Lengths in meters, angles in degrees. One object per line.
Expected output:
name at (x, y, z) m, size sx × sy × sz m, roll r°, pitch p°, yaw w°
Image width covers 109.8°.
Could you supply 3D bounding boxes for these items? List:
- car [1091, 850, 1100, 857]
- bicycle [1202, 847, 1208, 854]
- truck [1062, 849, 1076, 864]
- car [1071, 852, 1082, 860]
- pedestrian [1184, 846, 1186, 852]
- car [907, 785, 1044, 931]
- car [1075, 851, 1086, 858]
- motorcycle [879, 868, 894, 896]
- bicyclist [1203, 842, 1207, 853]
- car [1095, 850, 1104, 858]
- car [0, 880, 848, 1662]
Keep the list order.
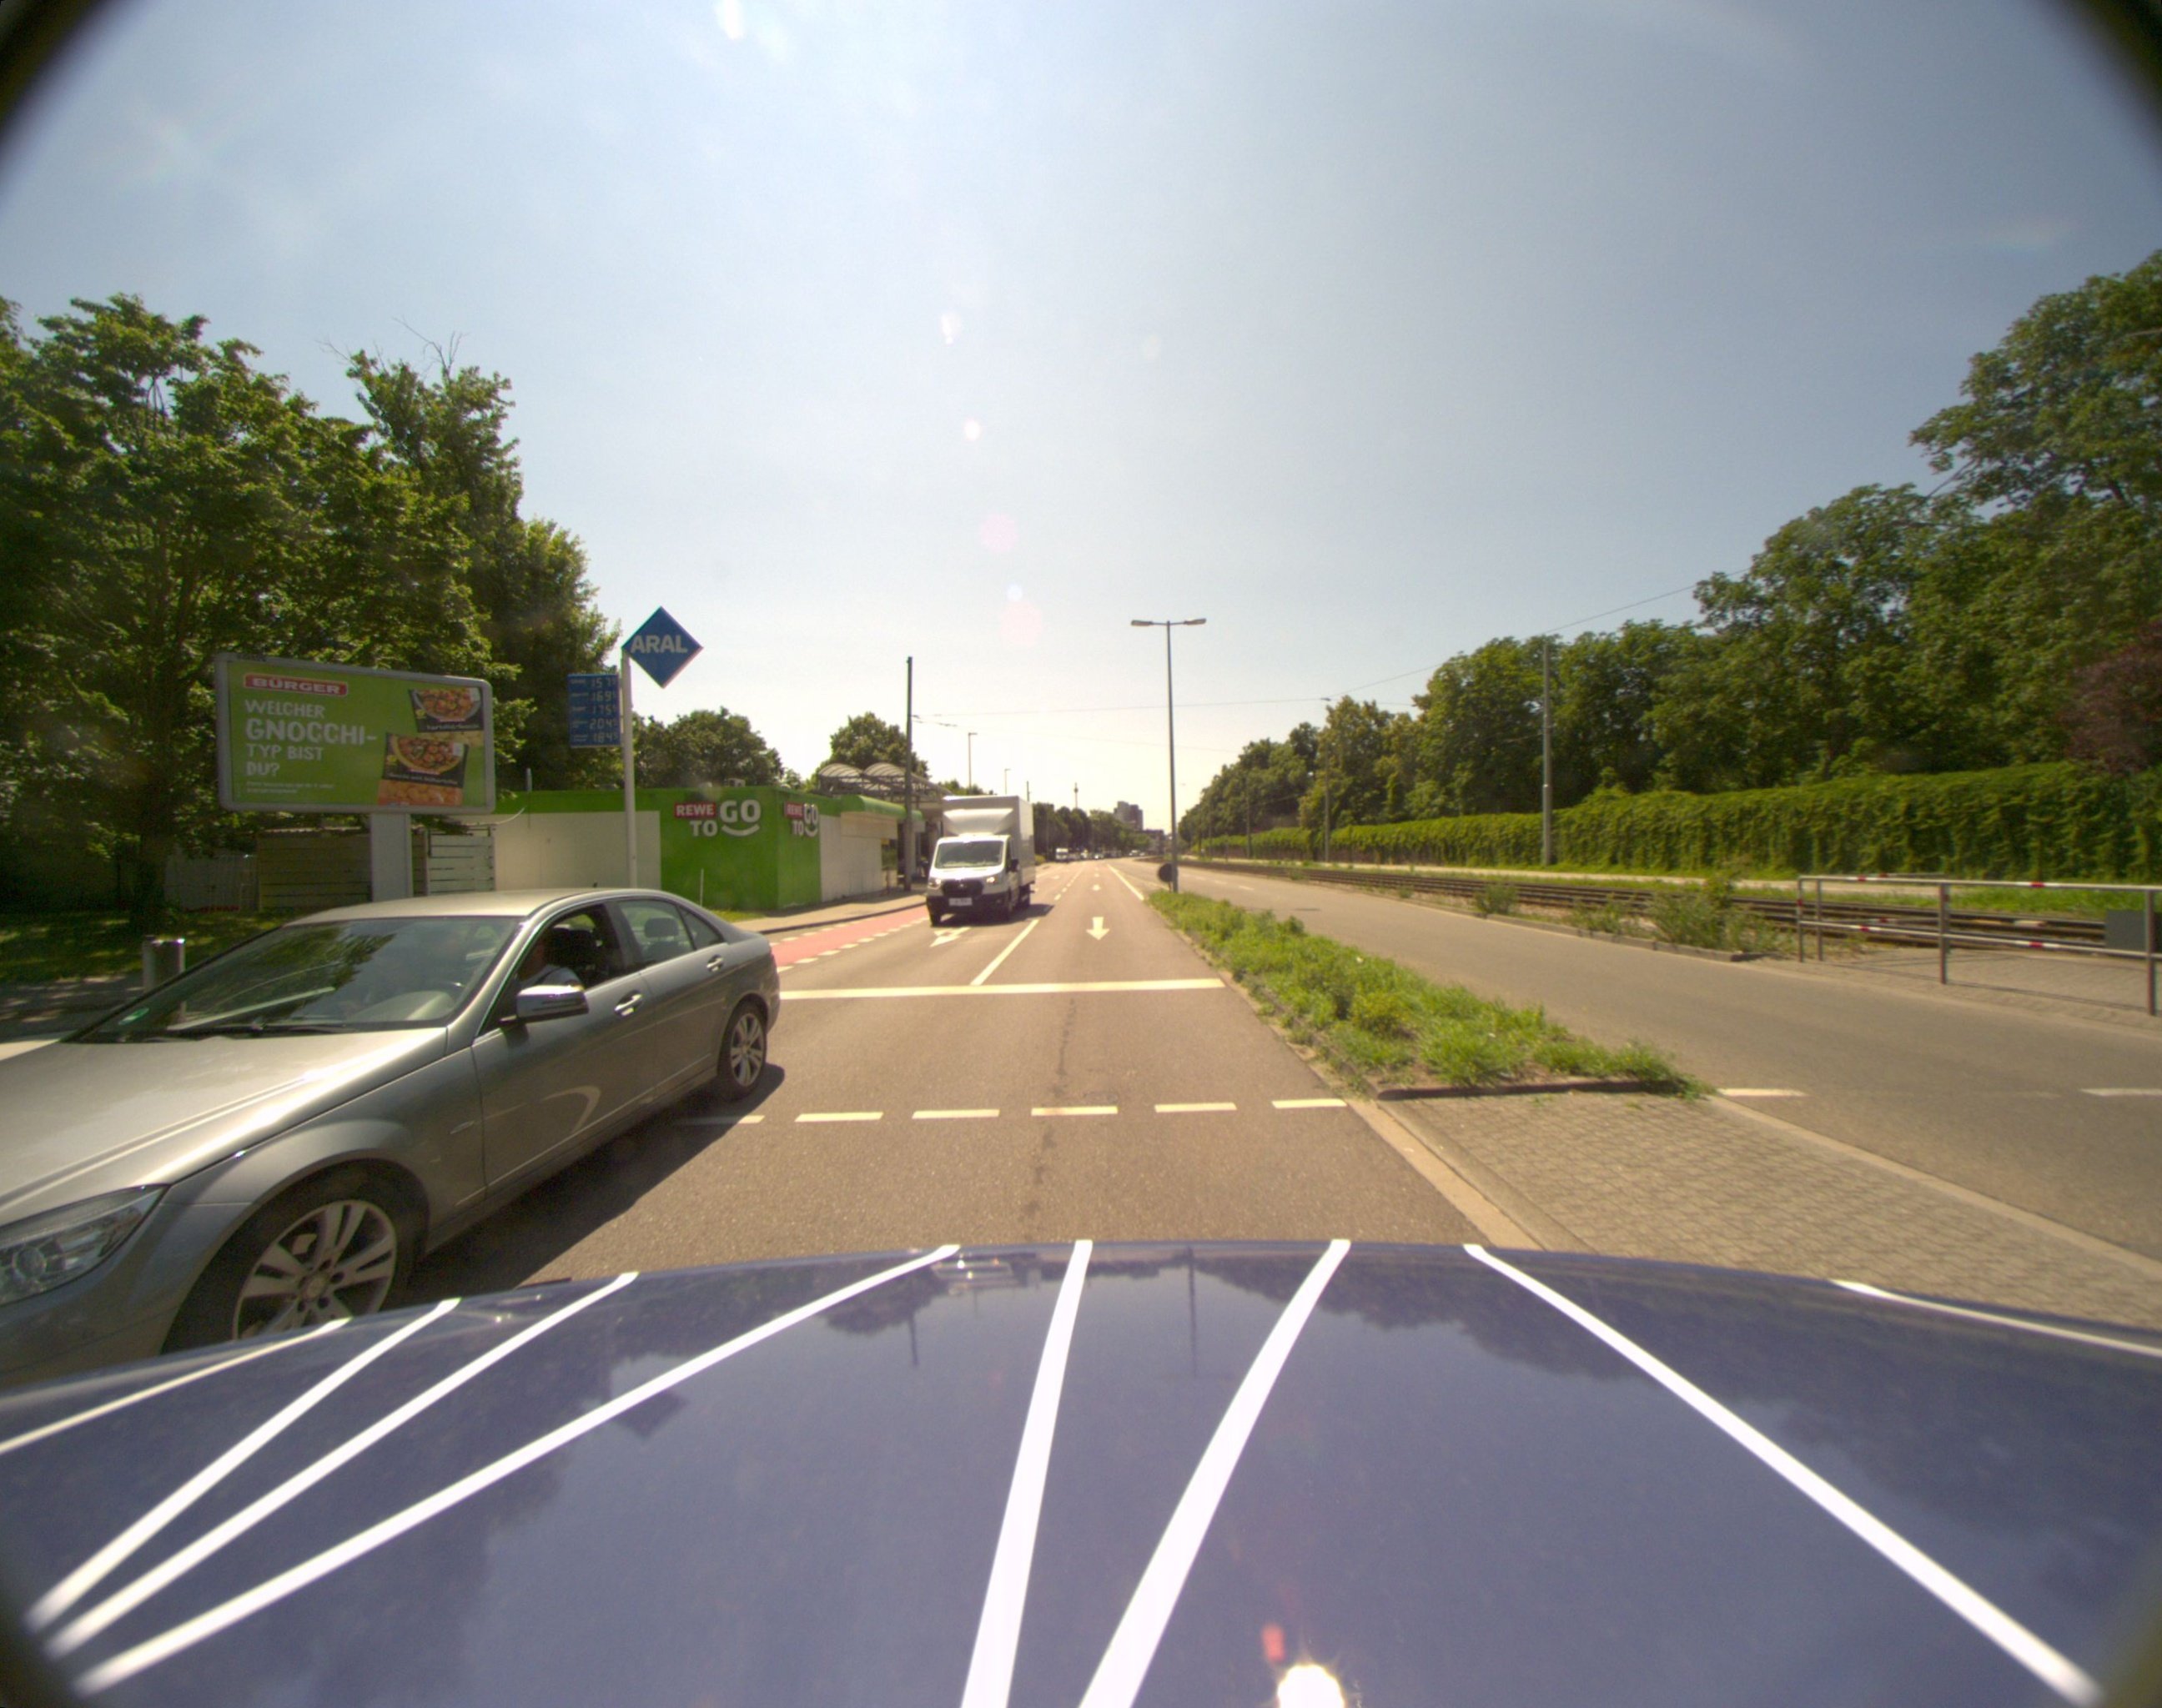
car at (3.799, -0.094, 199.213) m, size 1.911 × 1.488 × 4.002 m, roll -3°, pitch 1°, yaw 10°
bicycle at (19.666, -0.503, 120.608) m, size 0.617 × 1.049 × 1.978 m, roll -3°, pitch 1°, yaw 2°
truck at (-2.008, 0.380, 129.921) m, size 1.998 × 2.462 × 5.237 m, roll -3°, pitch 1°, yaw 1°
car at (-0.848, 0.325, 155.033) m, size 1.912 × 1.488 × 4.000 m, roll -3°, pitch 1°, yaw 4°
pedestrian at (32.648, -1.604, 237.946) m, size 0.453 × 1.655 × 0.302 m, roll -1°, pitch 1°, yaw 1°
car at (-2.680, 0.074, 22.024) m, size 2.229 × 3.316 × 8.637 m, roll -3°, pitch 0°, yaw 3°
car at (-0.081, 0.091, 163.882) m, size 1.912 × 1.488 × 4.000 m, roll -3°, pitch 1°, yaw 4°
motorcycle at (-8.032, 1.143, 31.403) m, size 0.253 × 1.099 × 1.117 m, roll 4°, pitch 1°, yaw 1°
bicyclist at (19.648, -1.017, 120.583) m, size 0.483 × 1.603 × 0.769 m, roll -3°, pitch 1°, yaw 2°
car at (4.046, -0.036, 164.818) m, size 1.947 × 1.674 × 4.000 m, roll -3°, pitch 1°, yaw 2°
car at (-3.065, 1.014, 4.063) m, size 1.717 × 1.464 × 5.302 m, roll -3°, pitch 0°, yaw 2°
